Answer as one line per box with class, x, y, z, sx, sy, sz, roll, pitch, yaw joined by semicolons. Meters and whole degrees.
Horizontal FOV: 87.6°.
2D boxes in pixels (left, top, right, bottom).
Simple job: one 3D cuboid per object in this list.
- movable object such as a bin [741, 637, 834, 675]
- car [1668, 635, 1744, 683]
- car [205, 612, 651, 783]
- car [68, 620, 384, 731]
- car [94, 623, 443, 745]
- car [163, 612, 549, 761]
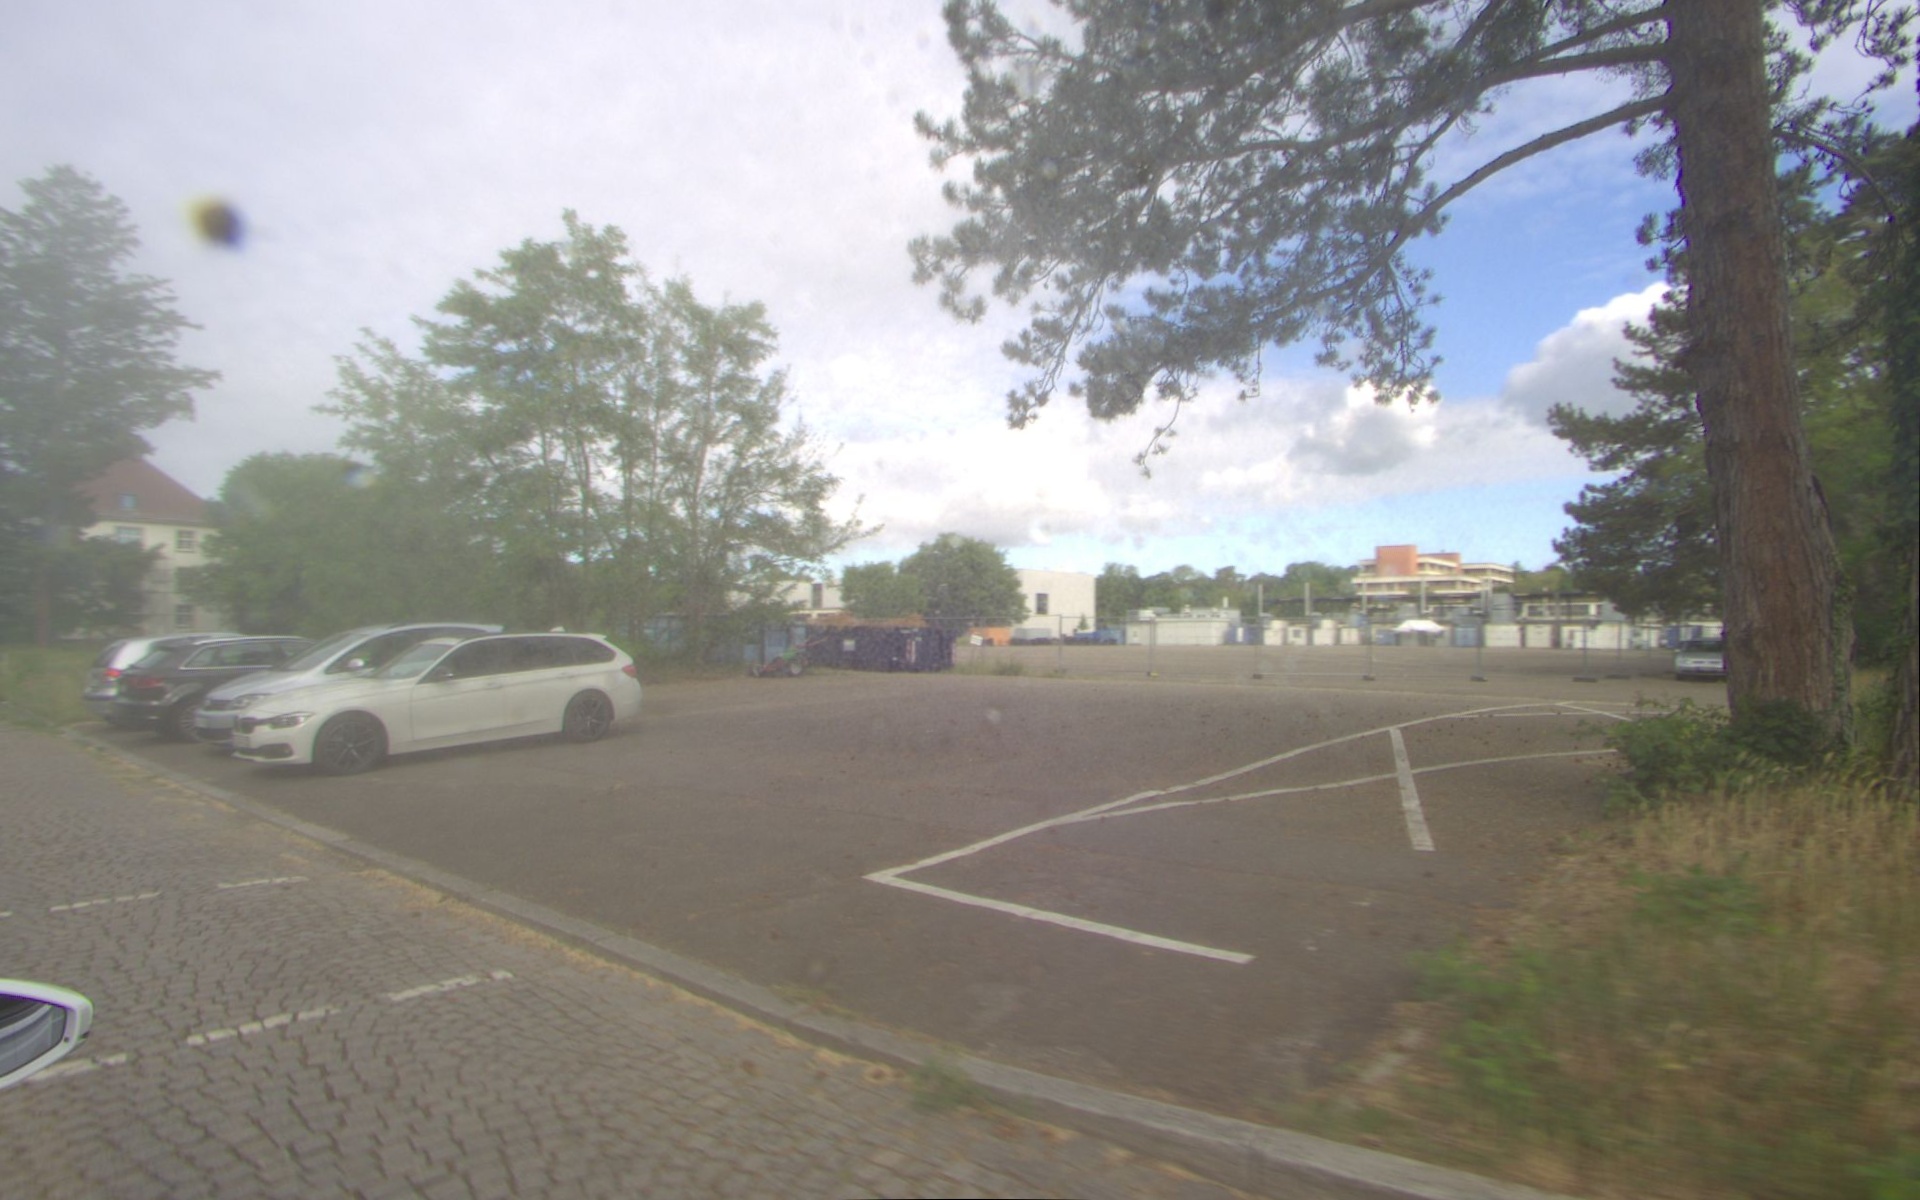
movable object such as a bin;-4.740;1.535;27.715;0.843;1.001;2.672;-1;-2;38
car;25.289;1.946;33.902;1.948;1.501;3.972;-1;-2;38
car;-6.312;1.010;12.375;1.882;1.586;4.472;-1;1;39
car;-12.505;1.186;17.272;1.782;1.535;4.055;-1;1;39
car;-10.514;1.171;15.480;1.862;1.472;4.055;-1;1;39
car;-8.232;1.054;14.012;1.862;1.617;4.222;-1;1;38
